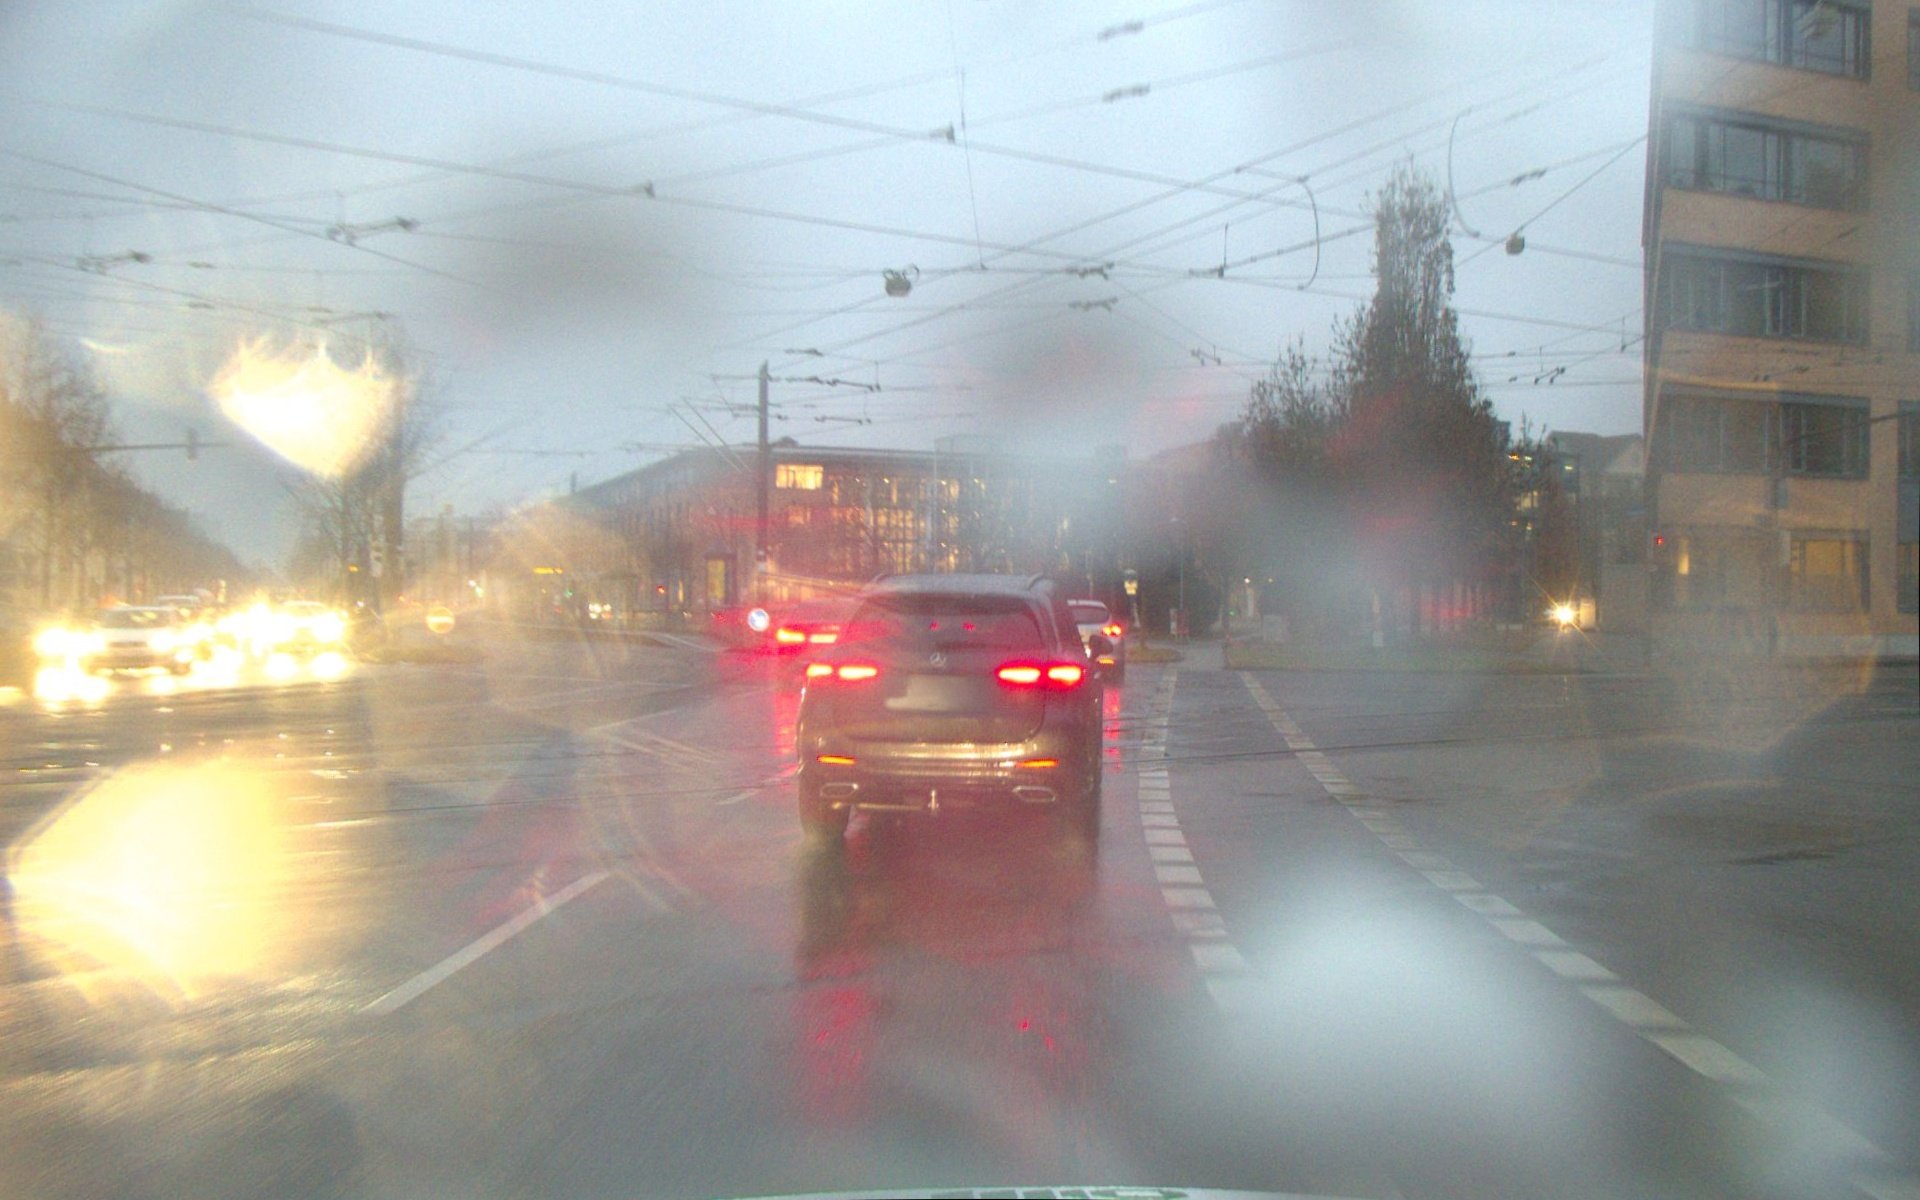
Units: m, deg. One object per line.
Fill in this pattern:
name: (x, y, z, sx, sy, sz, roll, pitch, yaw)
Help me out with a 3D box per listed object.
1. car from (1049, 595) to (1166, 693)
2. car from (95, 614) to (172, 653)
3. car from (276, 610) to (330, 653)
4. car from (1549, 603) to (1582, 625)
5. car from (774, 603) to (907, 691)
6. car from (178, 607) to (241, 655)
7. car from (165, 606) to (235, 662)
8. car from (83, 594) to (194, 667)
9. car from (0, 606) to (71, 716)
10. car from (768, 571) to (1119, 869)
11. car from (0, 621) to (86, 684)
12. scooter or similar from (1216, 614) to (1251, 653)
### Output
car: (2.945, 0.801, 32.243, 1.951, 1.796, 4.003, 0, 0, 10)
car: (-26.158, 1.038, 52.412, 1.575, 1.154, 3.771, 0, 0, -17)
car: (-20.793, 0.970, 52.278, 1.516, 1.267, 4.058, 0, 0, -23)
car: (33.512, 0.755, 91.502, 1.633, 1.201, 3.707, 0, 0, 22)
car: (-2.014, 0.764, 28.905, 1.952, 1.422, 4.000, 0, 0, 1)
car: (-26.018, 1.048, 57.433, 1.655, 1.580, 4.097, 0, 0, -20)
car: (-21.349, 0.935, 46.570, 1.465, 1.513, 3.135, 0, 0, -19)
car: (-17.657, 0.633, 35.712, 1.655, 1.483, 4.308, 0, 0, -20)
car: (-14.053, 0.825, 23.403, 1.652, 1.483, 4.047, 0, 0, -14)
car: (-0.009, 0.664, 11.161, 1.949, 1.644, 4.001, 0, 0, 2)
car: (-22.057, 1.212, 39.338, 1.655, 1.378, 4.361, 0, 0, -20)
scooter or similar: (8.940, 1.086, 54.055, 1.134, 1.253, 0.481, 0, 0, -40)
